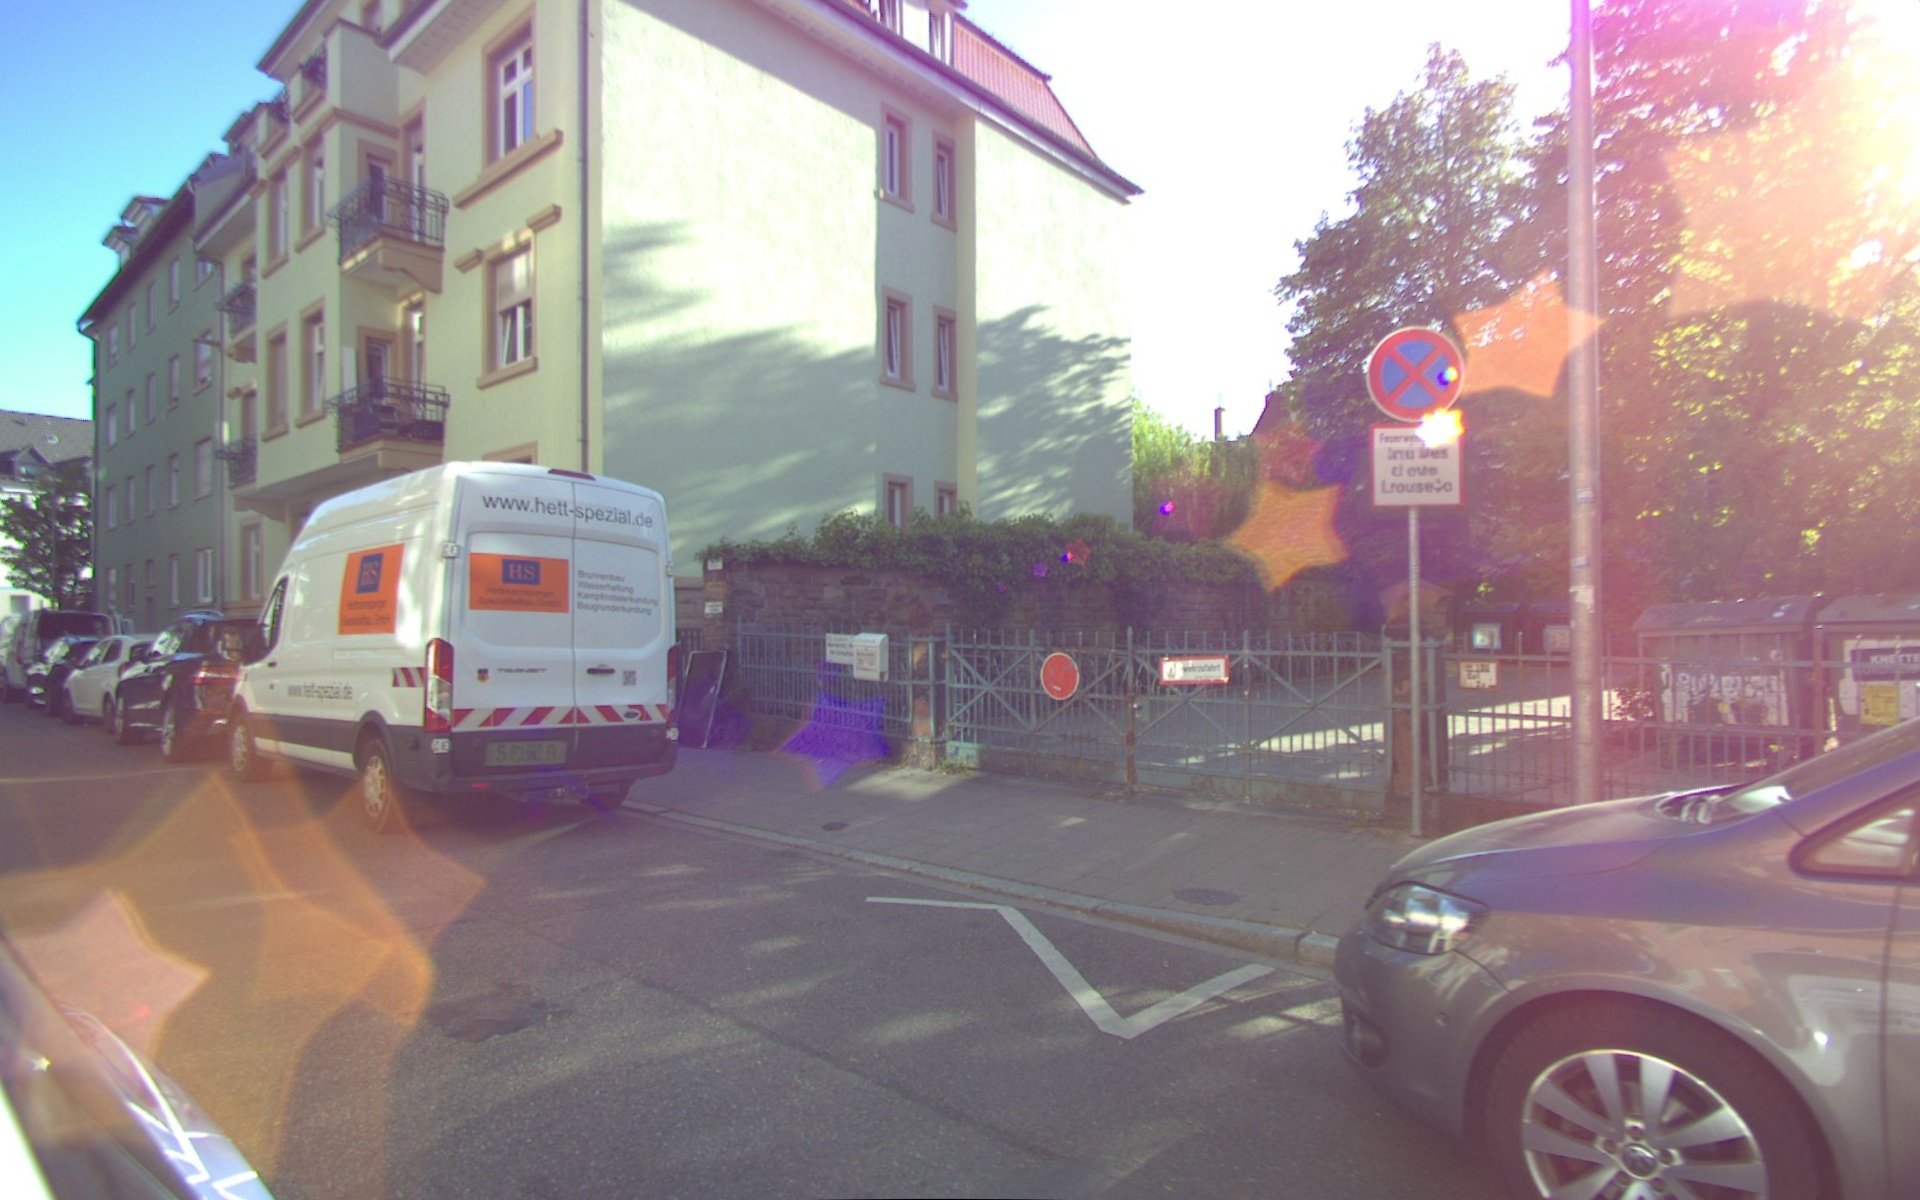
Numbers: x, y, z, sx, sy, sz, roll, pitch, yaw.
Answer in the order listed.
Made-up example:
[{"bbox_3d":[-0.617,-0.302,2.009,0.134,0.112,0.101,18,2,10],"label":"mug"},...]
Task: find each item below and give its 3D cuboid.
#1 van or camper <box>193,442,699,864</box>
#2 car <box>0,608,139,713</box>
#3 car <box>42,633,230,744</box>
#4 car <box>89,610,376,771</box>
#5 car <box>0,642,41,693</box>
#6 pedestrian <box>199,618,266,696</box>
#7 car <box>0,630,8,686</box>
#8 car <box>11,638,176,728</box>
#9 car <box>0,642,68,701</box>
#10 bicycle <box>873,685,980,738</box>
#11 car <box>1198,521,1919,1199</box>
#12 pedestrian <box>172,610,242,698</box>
[{"bbox_3d":[-5.053,0.468,9.426,5.848,2.790,2.106,-2,-4,41],"label":"van or camper"},{"bbox_3d":[-21.324,1.386,23.659,5.238,2.185,2.229,-2,-4,39],"label":"car"},{"bbox_3d":[-13.368,1.321,16.340,4.086,1.564,1.618,-1,-3,41],"label":"car"},{"bbox_3d":[-9.510,1.074,13.061,4.966,1.698,1.856,-2,-4,41],"label":"car"},{"bbox_3d":[-29.428,1.993,30.562,4.501,1.473,1.703,-2,-4,39],"label":"car"},{"bbox_3d":[-16.503,1.262,22.956,1.242,1.688,0.982,-2,-1,41],"label":"pedestrian"},{"bbox_3d":[-34.353,1.936,34.648,4.408,1.857,1.755,-1,-4,37],"label":"car"},{"bbox_3d":[-16.843,1.513,19.584,4.823,1.533,1.748,-2,-3,42],"label":"car"},{"bbox_3d":[-25.661,1.882,27.242,4.360,1.473,1.814,-2,-5,40],"label":"car"},{"bbox_3d":[-0.423,1.336,12.312,1.432,0.545,0.400,-2,-1,43],"label":"bicycle"},{"bbox_3d":[2.922,0.675,2.056,4.466,1.603,1.762,-2,-4,41],"label":"car"},{"bbox_3d":[-16.616,1.167,22.324,1.242,1.875,0.982,-2,-1,41],"label":"pedestrian"}]
